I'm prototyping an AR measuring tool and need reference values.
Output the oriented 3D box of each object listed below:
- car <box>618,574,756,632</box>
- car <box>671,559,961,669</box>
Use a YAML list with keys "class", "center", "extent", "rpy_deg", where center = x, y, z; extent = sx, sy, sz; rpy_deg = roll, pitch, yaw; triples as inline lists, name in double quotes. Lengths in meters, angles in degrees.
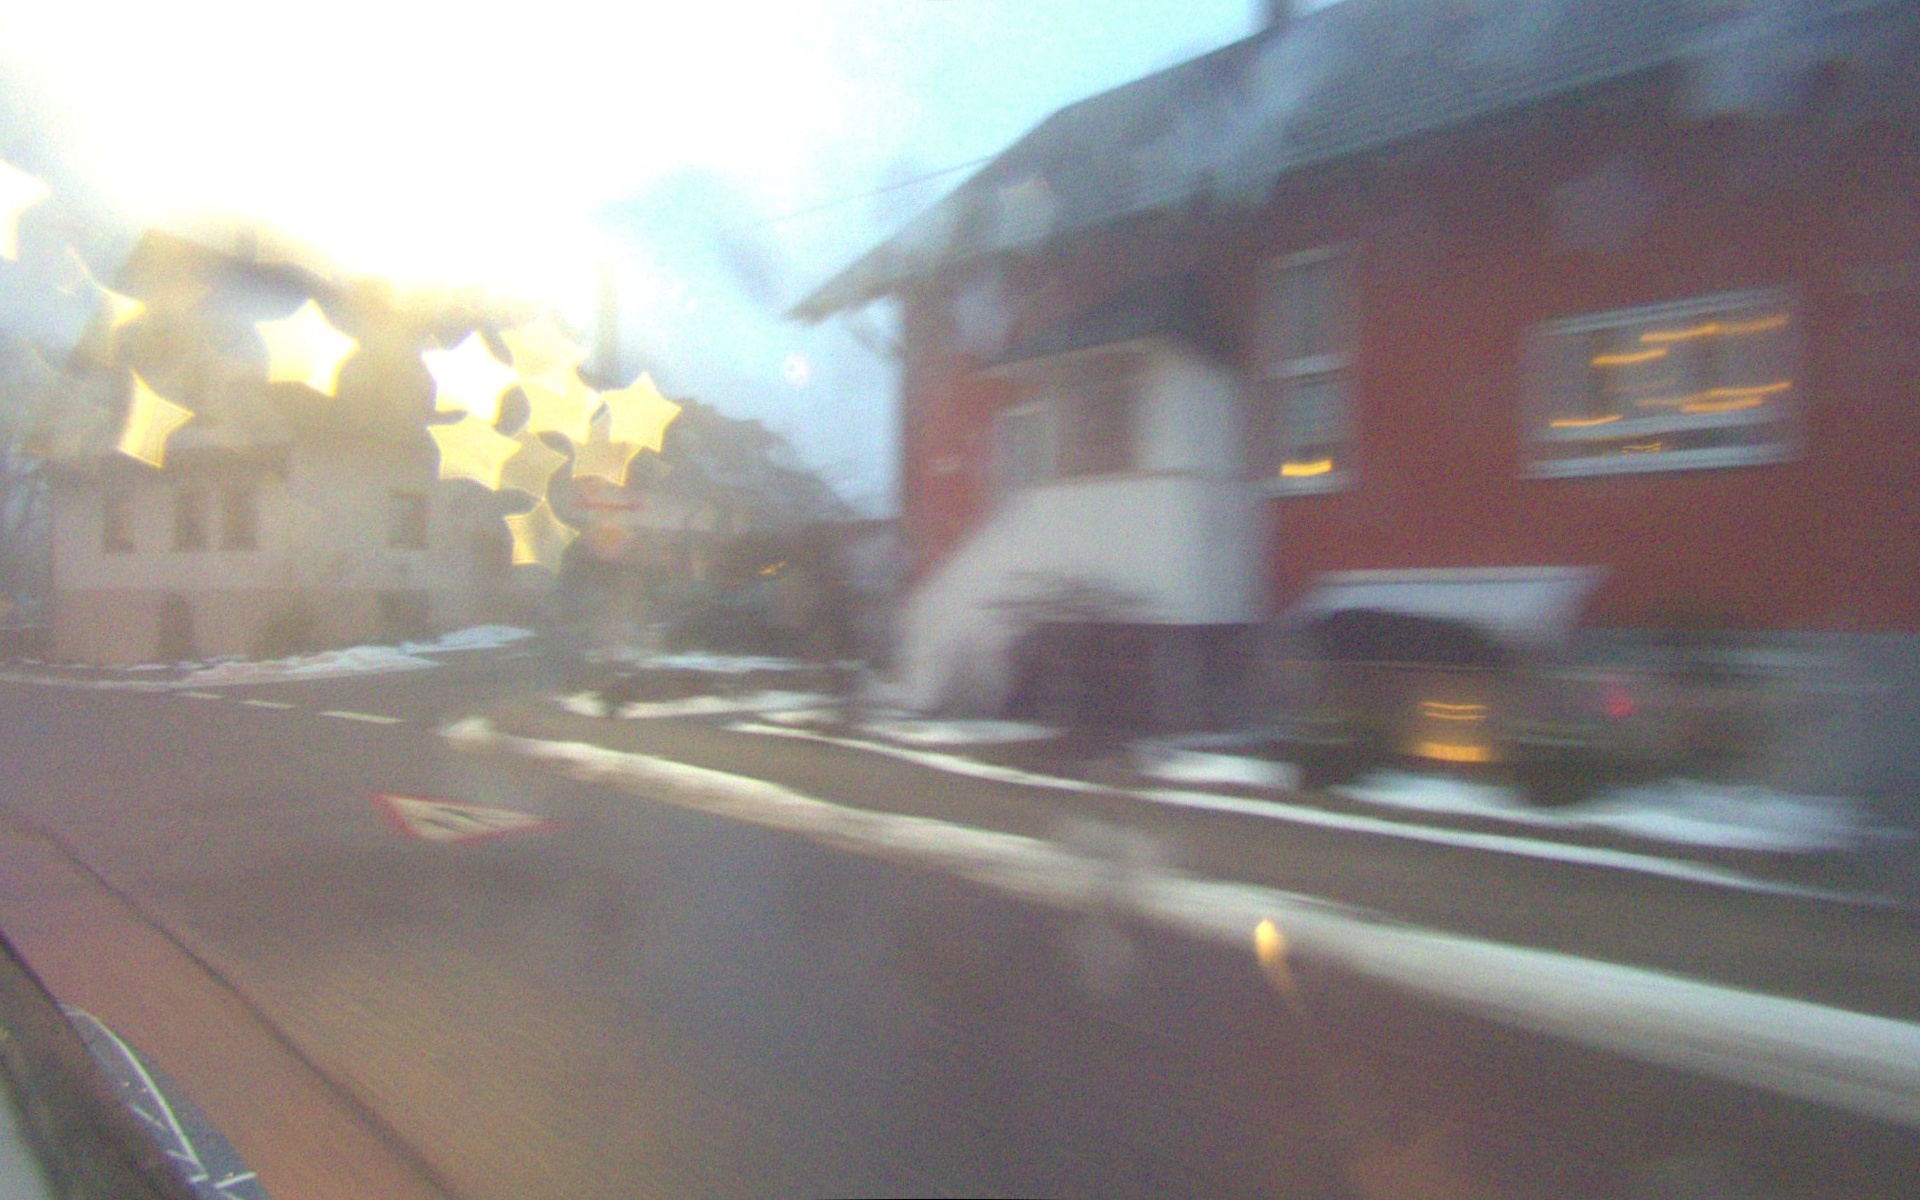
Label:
- class: "car"
  center: [-7.880, 0.033, 29.626]
  extent: [1.985, 1.541, 3.975]
  rpy_deg: [0, 2, 20]
- class: "car"
  center: [-2.144, 0.171, 15.425]
  extent: [3.965, 1.515, 1.870]
  rpy_deg: [0, 2, 17]
